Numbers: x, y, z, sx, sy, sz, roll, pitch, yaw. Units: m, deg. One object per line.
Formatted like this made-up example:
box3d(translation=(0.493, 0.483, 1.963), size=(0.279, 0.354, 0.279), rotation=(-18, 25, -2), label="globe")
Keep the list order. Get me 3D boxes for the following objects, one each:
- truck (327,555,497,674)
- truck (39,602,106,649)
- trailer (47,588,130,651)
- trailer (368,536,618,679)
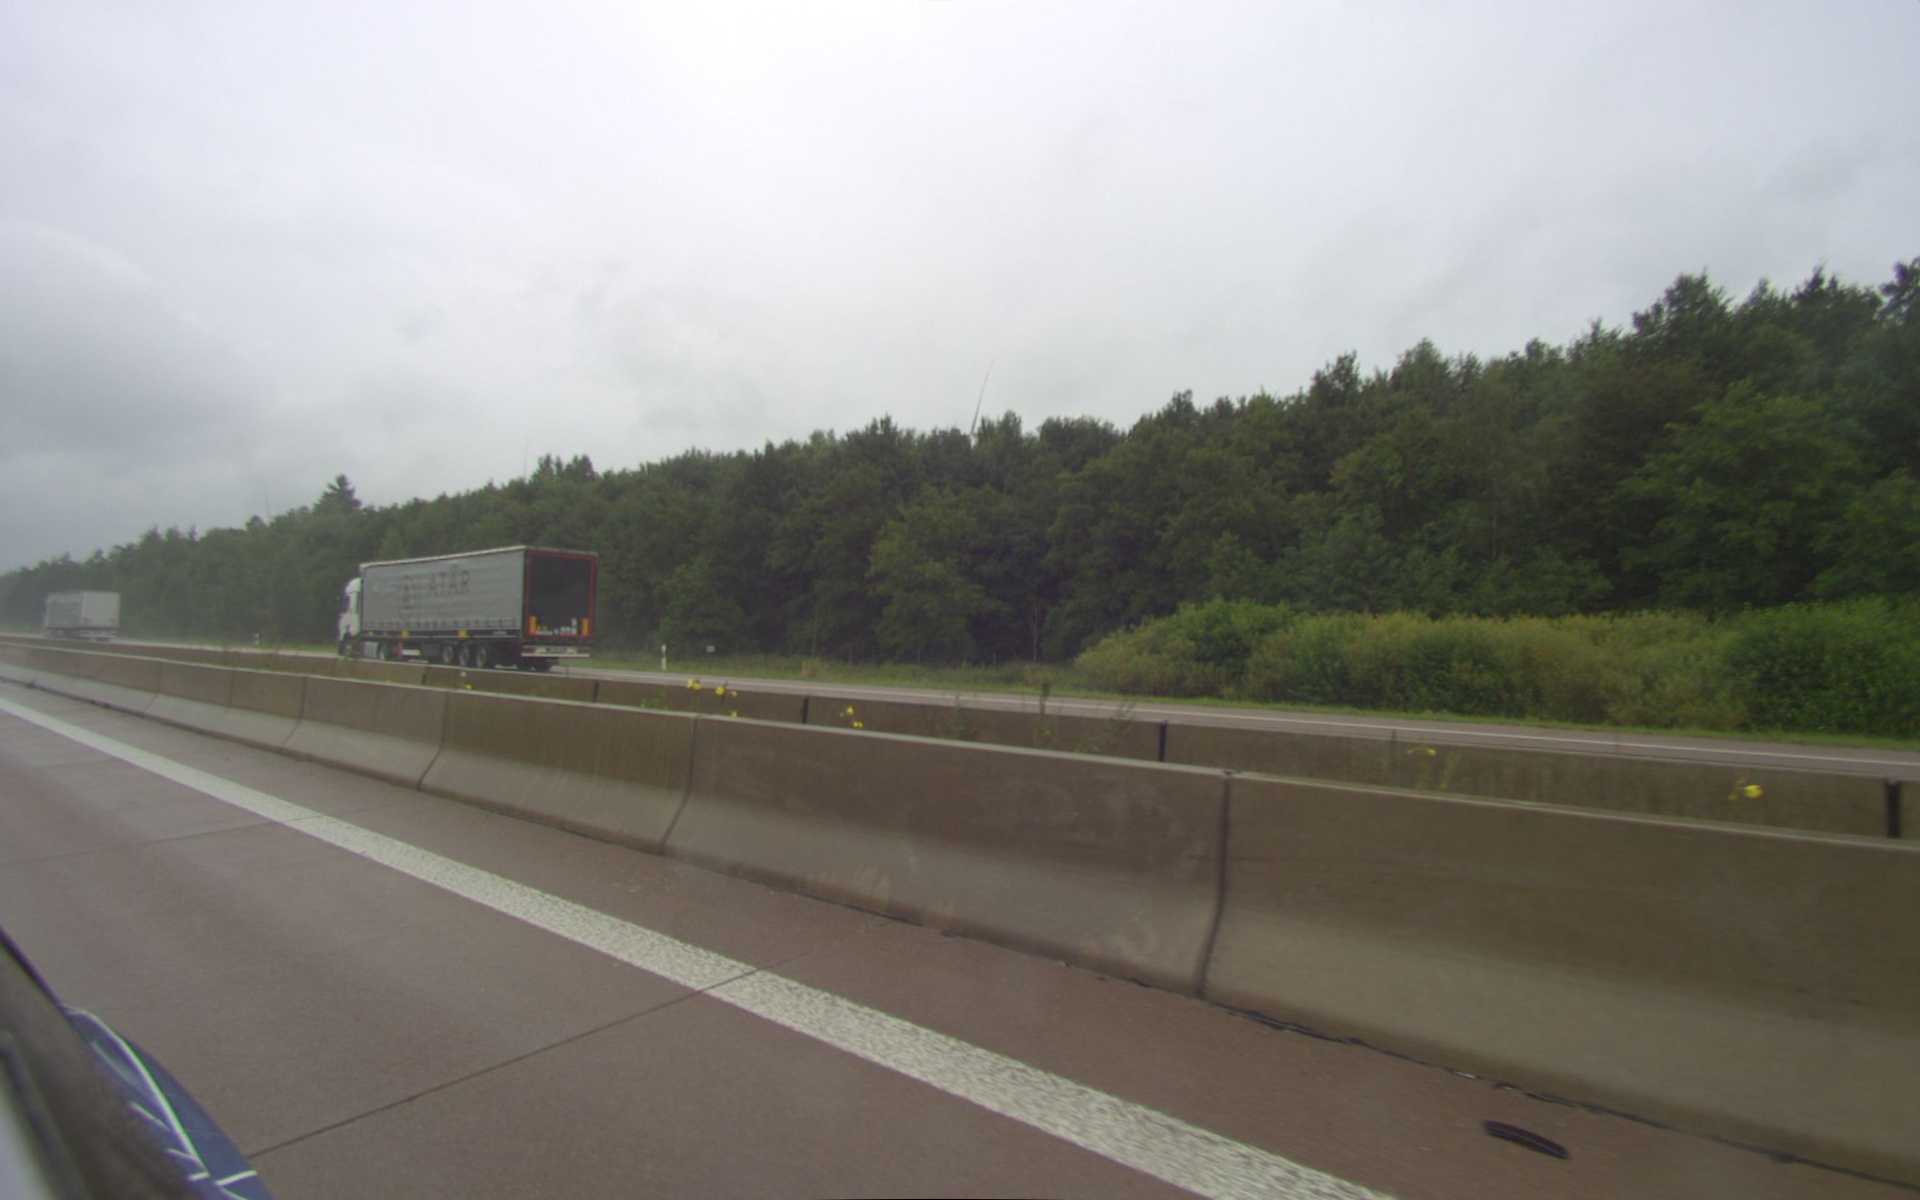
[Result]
box3d(translation=(-22.517, 0.692, 41.410), size=(7.941, 4.393, 3.384), rotation=(-2, -3, 40), label="truck")
box3d(translation=(-77.817, 2.154, 88.700), size=(7.459, 3.918, 3.437), rotation=(-1, 0, 41), label="truck")
box3d(translation=(-72.843, 1.568, 84.434), size=(12.437, 4.903, 3.395), rotation=(-1, 0, 41), label="trailer")
box3d(translation=(-17.416, 0.451, 37.019), size=(12.436, 4.500, 3.395), rotation=(-2, -3, 41), label="trailer")
